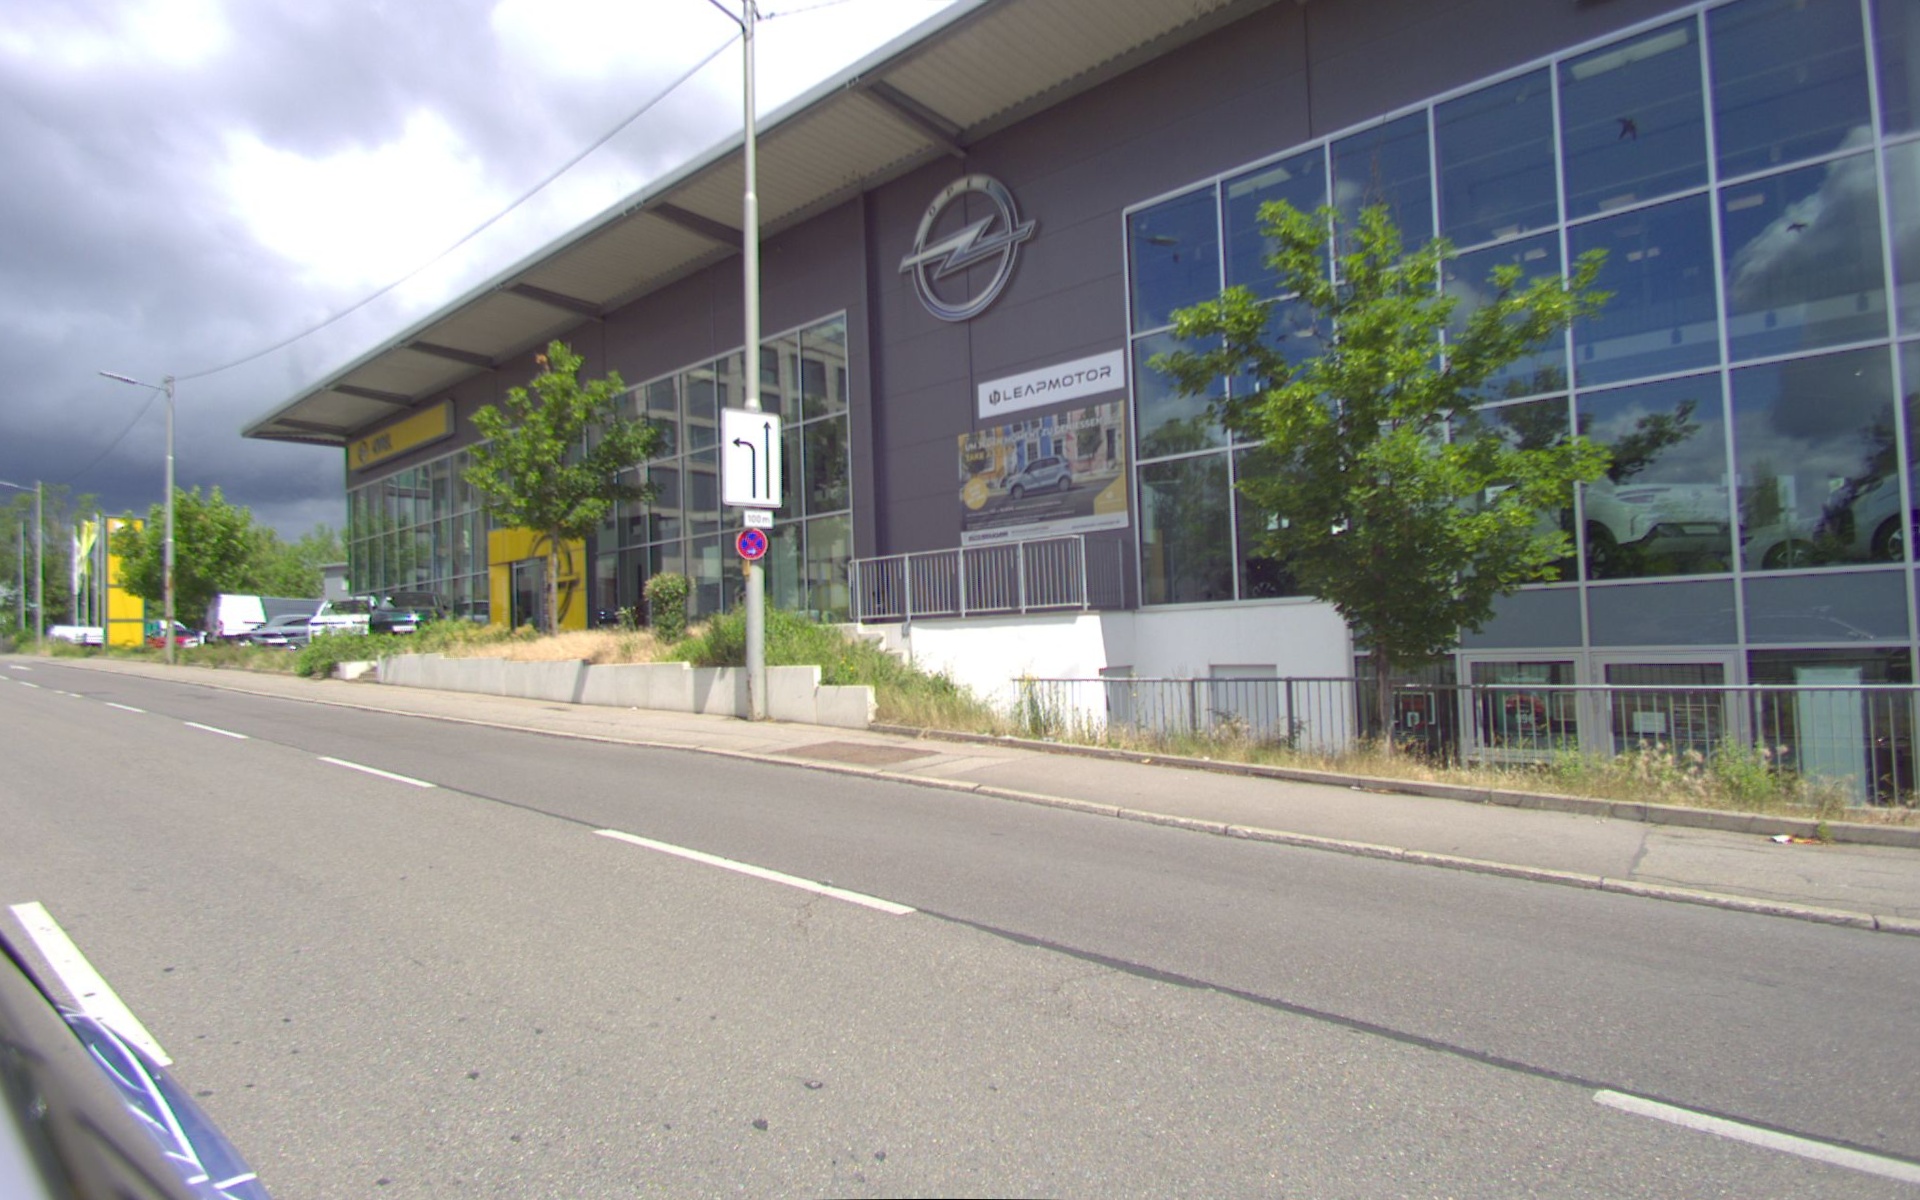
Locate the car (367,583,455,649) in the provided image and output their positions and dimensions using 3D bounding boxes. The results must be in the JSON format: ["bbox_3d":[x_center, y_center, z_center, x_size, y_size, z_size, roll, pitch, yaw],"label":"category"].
[{"bbox_3d":[-15.673,0.469,28.798,1.966,1.741,4.011,1,-2,-31],"label":"car"}]

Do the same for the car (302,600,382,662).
[{"bbox_3d":[-19.200,0.945,31.586,1.966,1.807,4.012,1,-2,-29],"label":"car"}]

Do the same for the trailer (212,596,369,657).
[{"bbox_3d":[-27.411,1.084,41.601,1.998,2.367,5.011,-1,-2,39],"label":"trailer"}]

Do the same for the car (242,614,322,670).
[{"bbox_3d":[-23.464,1.405,35.148,1.966,1.807,4.012,1,-1,-29],"label":"car"}]
